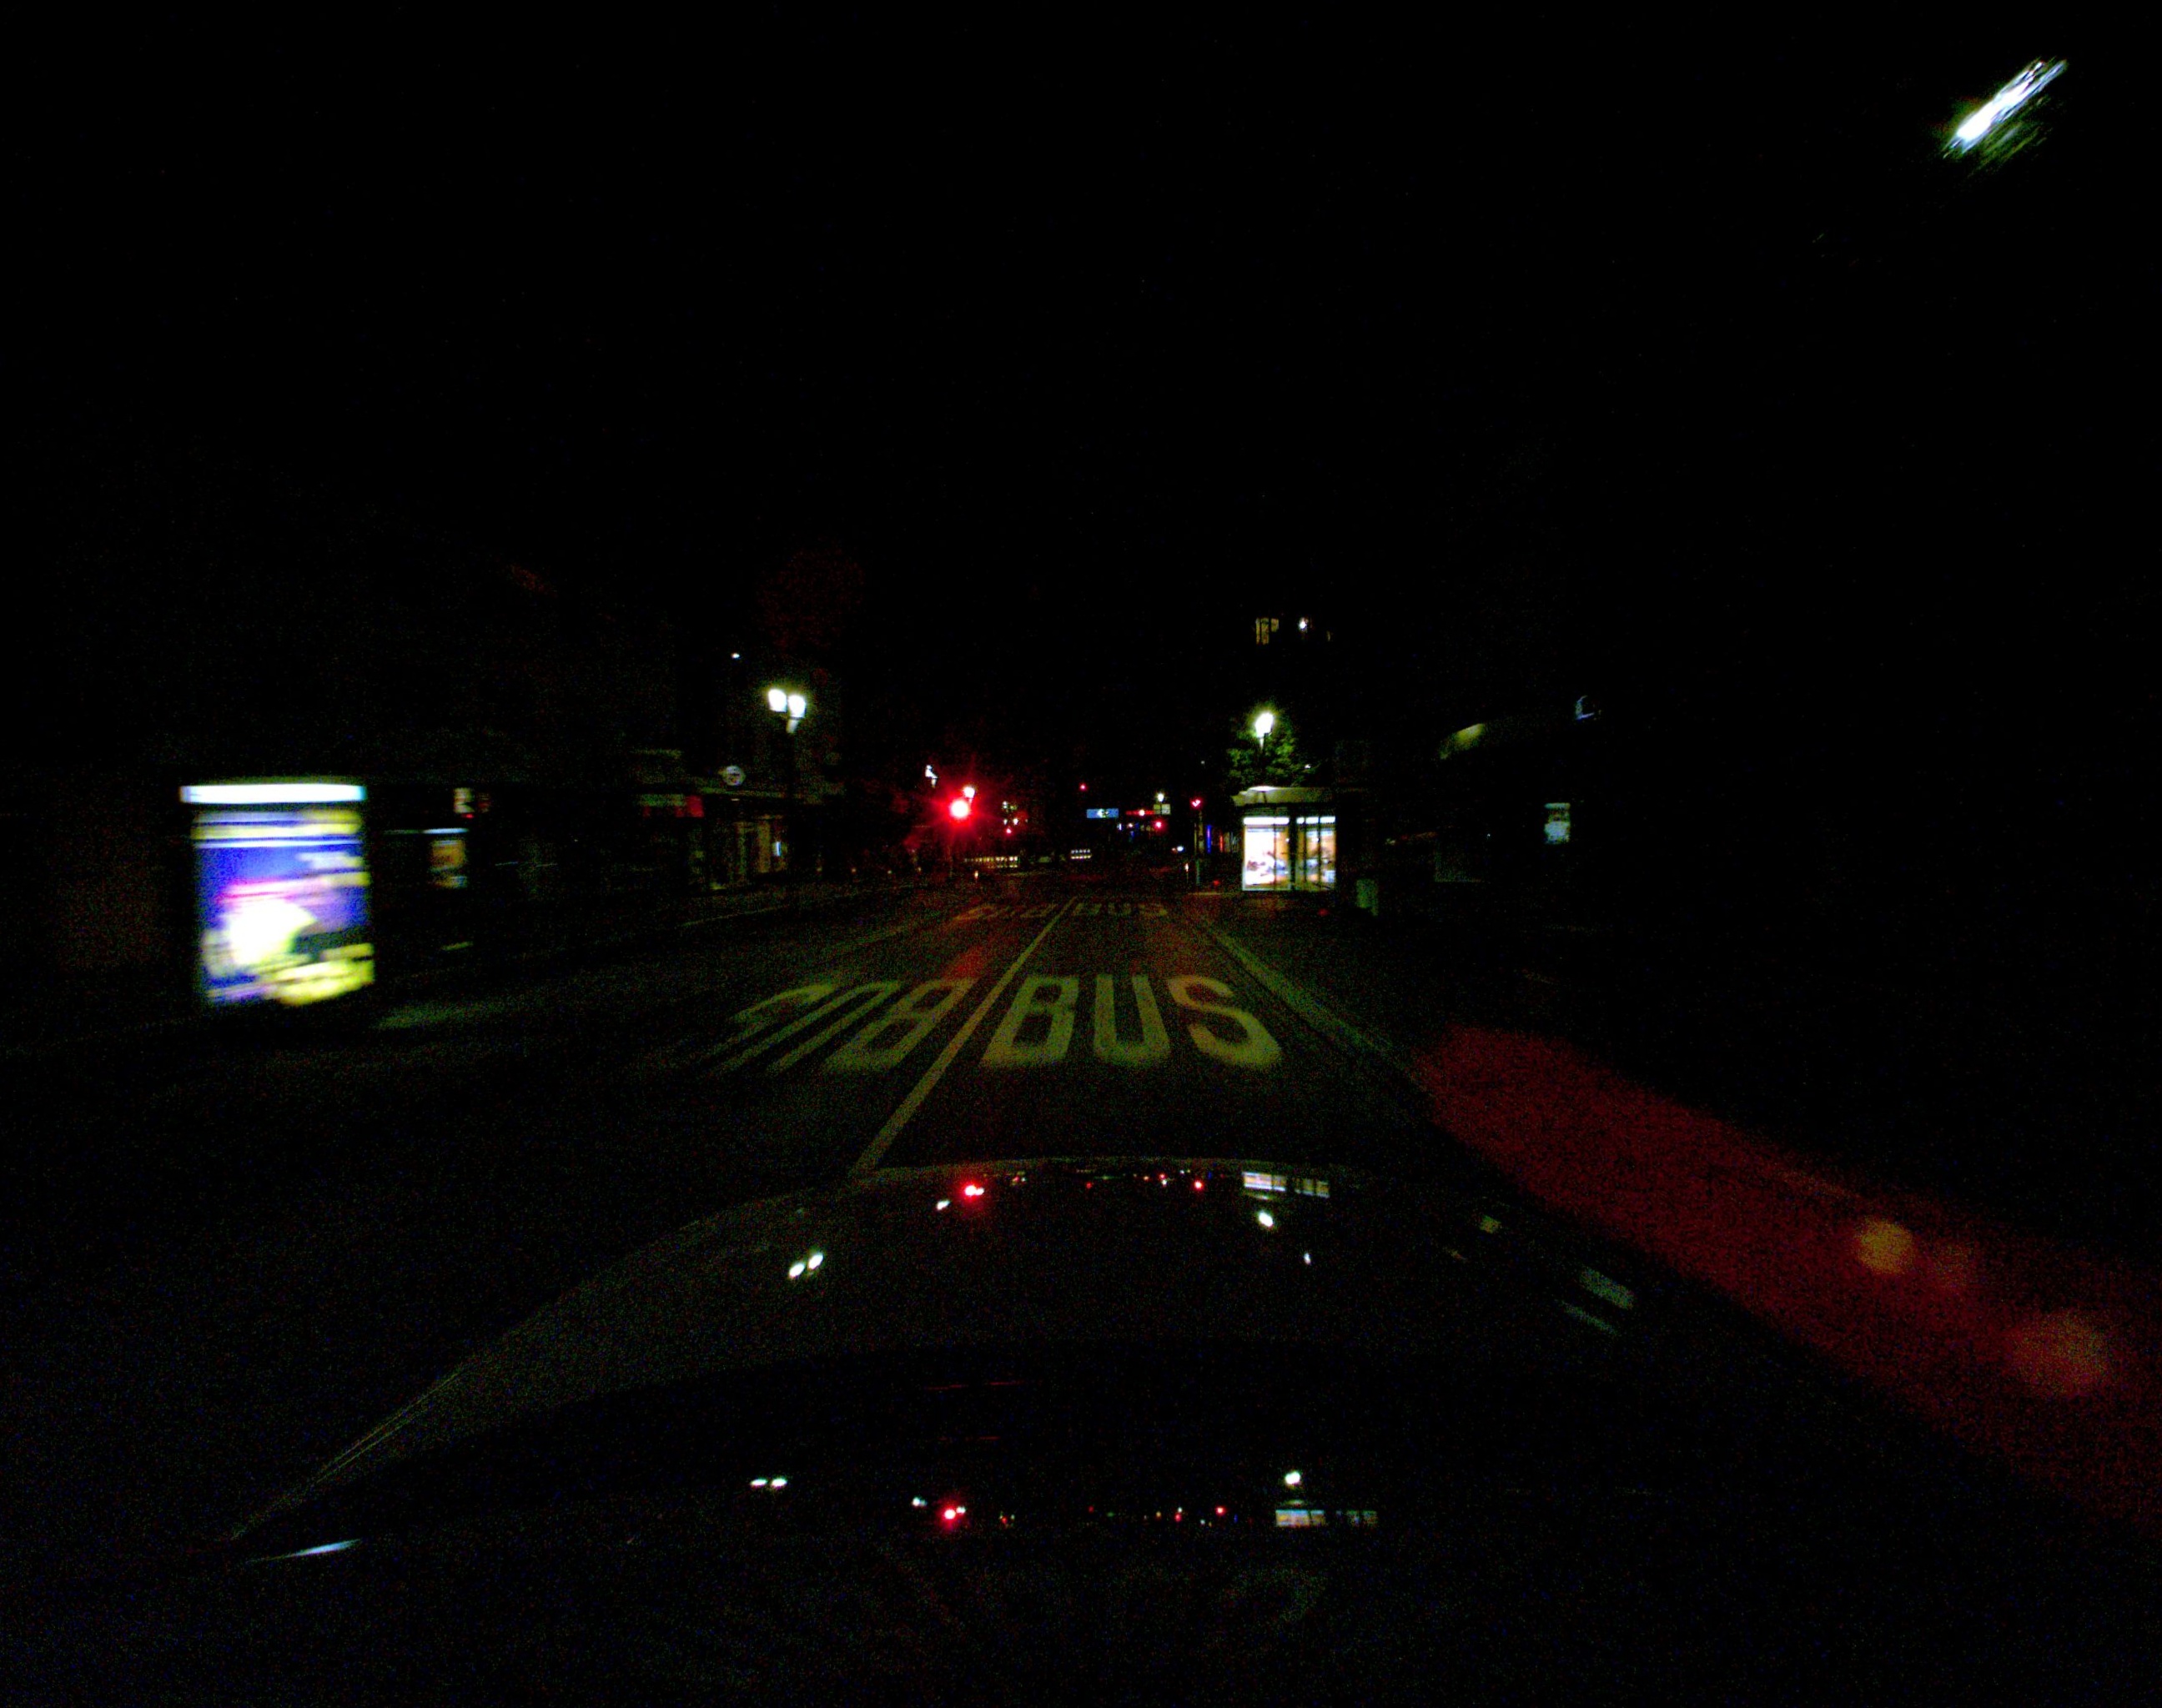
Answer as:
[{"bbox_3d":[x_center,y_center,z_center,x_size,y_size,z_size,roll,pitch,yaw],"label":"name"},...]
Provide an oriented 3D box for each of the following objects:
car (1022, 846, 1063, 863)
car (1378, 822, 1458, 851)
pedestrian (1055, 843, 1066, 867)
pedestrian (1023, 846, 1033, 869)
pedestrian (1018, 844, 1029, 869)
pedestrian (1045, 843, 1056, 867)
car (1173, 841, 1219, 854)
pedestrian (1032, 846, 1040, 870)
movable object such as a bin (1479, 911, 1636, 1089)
[{"bbox_3d":[-3.680,0.074,77.387,3.748,1.618,1.831,0,-1,-7],"label":"car"},{"bbox_3d":[20.004,-1.027,48.461,4.018,1.452,1.830,-4,1,9],"label":"car"},{"bbox_3d":[-1.531,0.060,60.606,0.736,1.795,0.715,1,-1,-14],"label":"pedestrian"},{"bbox_3d":[-4.101,0.294,63.124,0.711,1.795,0.571,0,-1,9],"label":"pedestrian"},{"bbox_3d":[-4.258,0.193,59.997,0.713,1.795,0.570,0,-1,3],"label":"pedestrian"},{"bbox_3d":[-2.310,0.056,61.107,0.571,1.795,0.711,1,-2,-30],"label":"pedestrian"},{"bbox_3d":[11.528,-0.667,81.927,4.408,1.297,1.639,0,-1,-4],"label":"car"},{"bbox_3d":[-3.390,0.313,61.168,0.566,1.795,0.717,0,-1,-4],"label":"pedestrian"},{"bbox_3d":[2.790,0.825,4.817,0.523,0.937,0.627,0,-1,-9],"label":"movable object such as a bin"}]
